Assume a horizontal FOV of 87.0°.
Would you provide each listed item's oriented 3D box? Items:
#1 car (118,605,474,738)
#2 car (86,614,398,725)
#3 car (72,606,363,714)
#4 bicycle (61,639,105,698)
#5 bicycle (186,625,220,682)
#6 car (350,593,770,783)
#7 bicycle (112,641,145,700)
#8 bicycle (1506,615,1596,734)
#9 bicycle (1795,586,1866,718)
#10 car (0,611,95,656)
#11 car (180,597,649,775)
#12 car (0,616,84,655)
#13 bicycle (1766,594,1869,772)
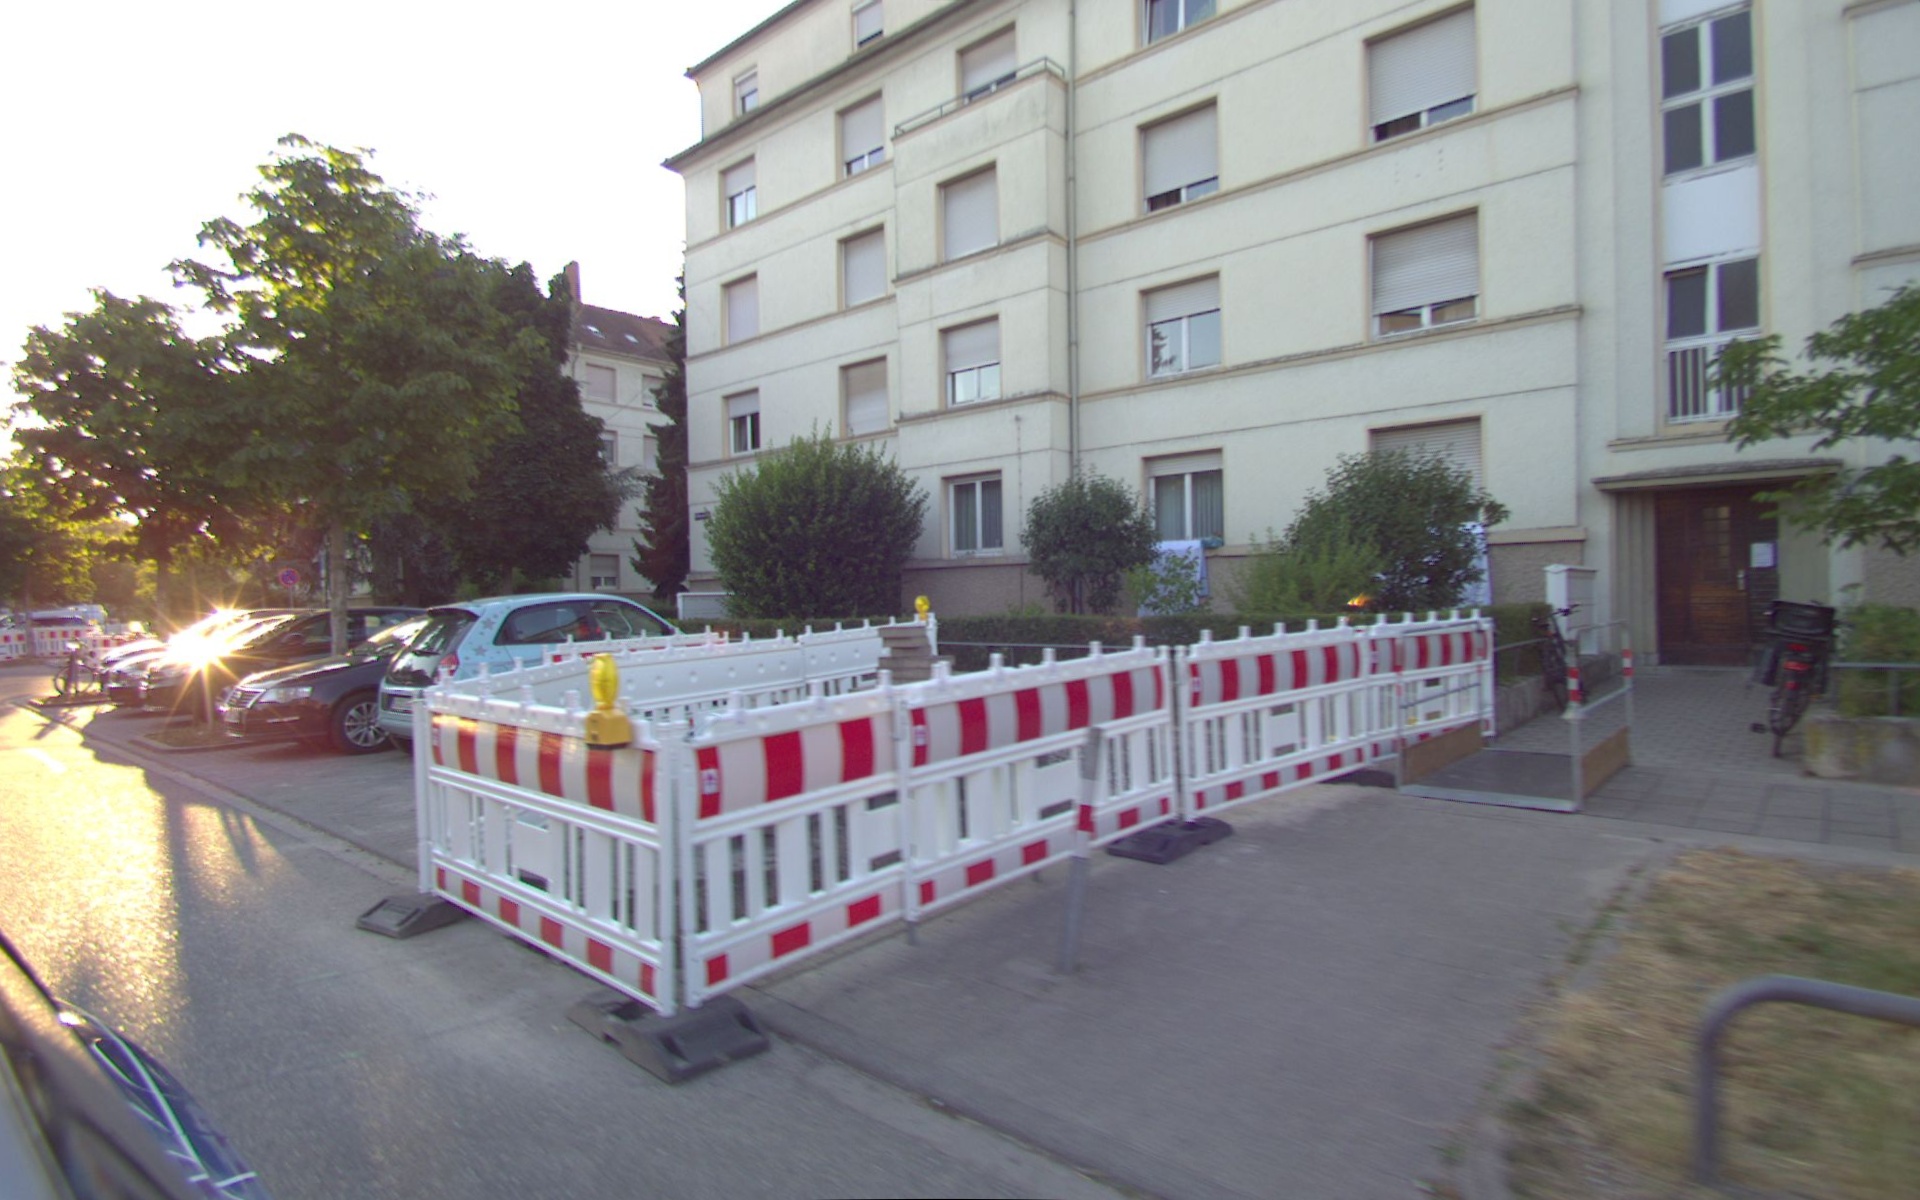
[{"bbox_3d":[-9.464,0.911,14.653,1.728,1.495,3.988,-2,1,43],"label":"car"},{"bbox_3d":[-11.429,1.022,16.300,1.606,1.395,3.801,-2,1,42],"label":"car"},{"bbox_3d":[-13.230,0.990,18.202,1.728,1.553,3.943,-2,1,43],"label":"car"},{"bbox_3d":[-17.375,1.341,20.047,1.628,1.104,0.442,-1,-1,42],"label":"bicycle"},{"bbox_3d":[-16.138,1.121,21.559,1.526,1.167,0.276,-1,-1,42],"label":"bicycle"},{"bbox_3d":[-3.985,0.752,10.535,1.726,1.495,3.663,-2,1,40],"label":"car"},{"bbox_3d":[-17.039,1.428,20.740,1.526,1.167,0.276,-2,-1,42],"label":"bicycle"},{"bbox_3d":[5.851,0.690,9.975,0.360,0.999,1.900,-1,1,42],"label":"bicycle"},{"bbox_3d":[8.973,0.484,10.408,0.490,1.195,2.007,-1,1,42],"label":"bicycle"},{"bbox_3d":[-46.017,1.658,50.100,4.719,2.085,2.002,-1,0,-44],"label":"car"},{"bbox_3d":[-5.974,0.811,11.689,1.723,1.495,4.472,-2,1,33],"label":"car"},{"bbox_3d":[-44.300,1.682,48.008,4.073,1.696,2.002,-1,0,-44],"label":"car"},{"bbox_3d":[6.823,0.582,8.017,0.540,1.195,2.007,-1,1,42],"label":"bicycle"}]
